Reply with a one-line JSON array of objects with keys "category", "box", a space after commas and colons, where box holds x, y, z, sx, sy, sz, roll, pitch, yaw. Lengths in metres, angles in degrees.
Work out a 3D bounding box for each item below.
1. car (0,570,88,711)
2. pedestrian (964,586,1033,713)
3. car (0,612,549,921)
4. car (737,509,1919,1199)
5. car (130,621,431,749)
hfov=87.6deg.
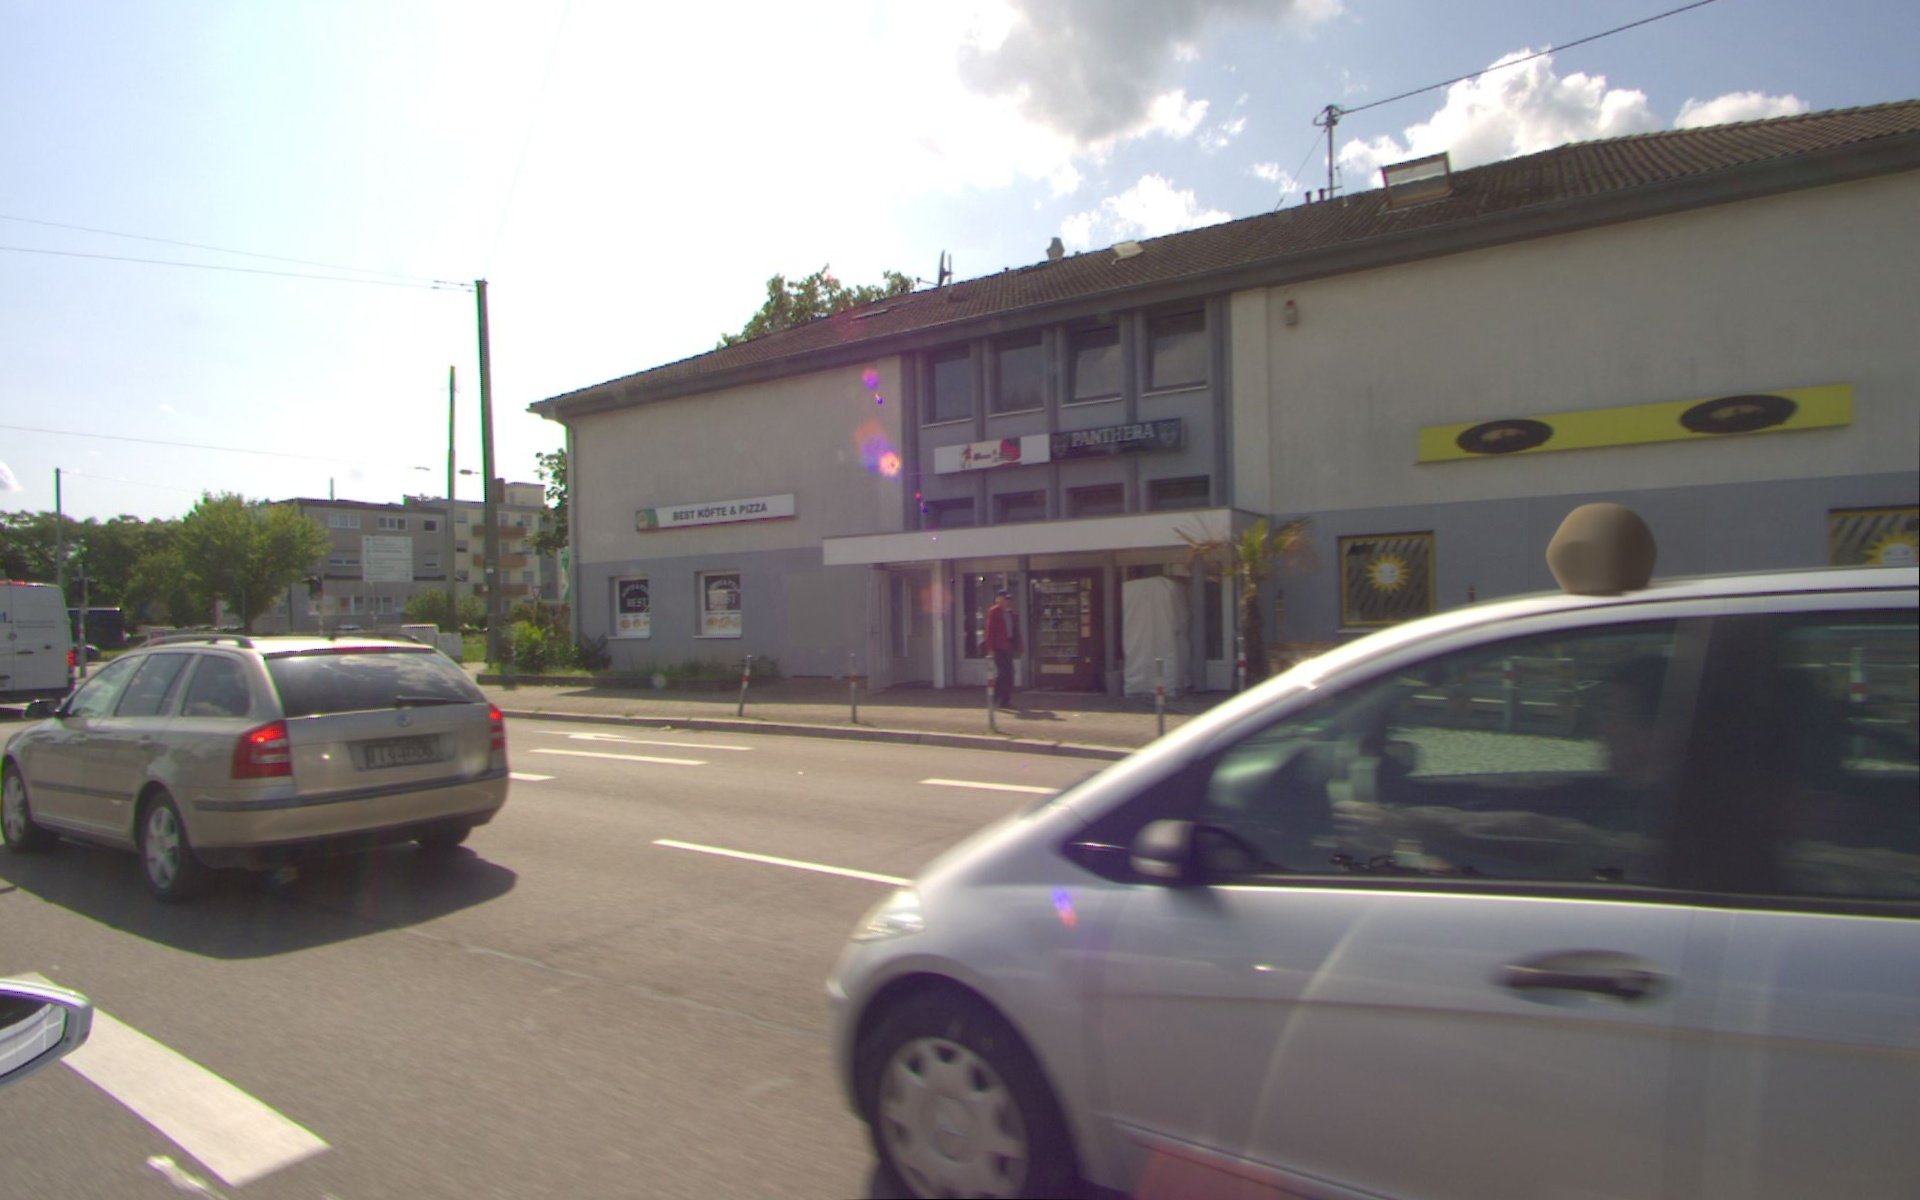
[{"category": "car", "box": [-19.696, 0.808, 19.976, 5.156, 2.590, 2.038, -2, -1, 32]}, {"category": "pedestrian", "box": [0.569, 0.716, 14.823, 0.693, 1.807, 0.719, -1, 2, 34]}, {"category": "car", "box": [-5.009, 0.900, 6.869, 4.563, 1.511, 1.736, -2, -2, 32]}, {"category": "car", "box": [1.533, 0.706, 2.224, 4.042, 1.597, 1.781, -2, -2, 37]}, {"category": "car", "box": [-9.458, 1.098, 13.841, 4.472, 1.511, 1.851, -2, -2, 33]}]
